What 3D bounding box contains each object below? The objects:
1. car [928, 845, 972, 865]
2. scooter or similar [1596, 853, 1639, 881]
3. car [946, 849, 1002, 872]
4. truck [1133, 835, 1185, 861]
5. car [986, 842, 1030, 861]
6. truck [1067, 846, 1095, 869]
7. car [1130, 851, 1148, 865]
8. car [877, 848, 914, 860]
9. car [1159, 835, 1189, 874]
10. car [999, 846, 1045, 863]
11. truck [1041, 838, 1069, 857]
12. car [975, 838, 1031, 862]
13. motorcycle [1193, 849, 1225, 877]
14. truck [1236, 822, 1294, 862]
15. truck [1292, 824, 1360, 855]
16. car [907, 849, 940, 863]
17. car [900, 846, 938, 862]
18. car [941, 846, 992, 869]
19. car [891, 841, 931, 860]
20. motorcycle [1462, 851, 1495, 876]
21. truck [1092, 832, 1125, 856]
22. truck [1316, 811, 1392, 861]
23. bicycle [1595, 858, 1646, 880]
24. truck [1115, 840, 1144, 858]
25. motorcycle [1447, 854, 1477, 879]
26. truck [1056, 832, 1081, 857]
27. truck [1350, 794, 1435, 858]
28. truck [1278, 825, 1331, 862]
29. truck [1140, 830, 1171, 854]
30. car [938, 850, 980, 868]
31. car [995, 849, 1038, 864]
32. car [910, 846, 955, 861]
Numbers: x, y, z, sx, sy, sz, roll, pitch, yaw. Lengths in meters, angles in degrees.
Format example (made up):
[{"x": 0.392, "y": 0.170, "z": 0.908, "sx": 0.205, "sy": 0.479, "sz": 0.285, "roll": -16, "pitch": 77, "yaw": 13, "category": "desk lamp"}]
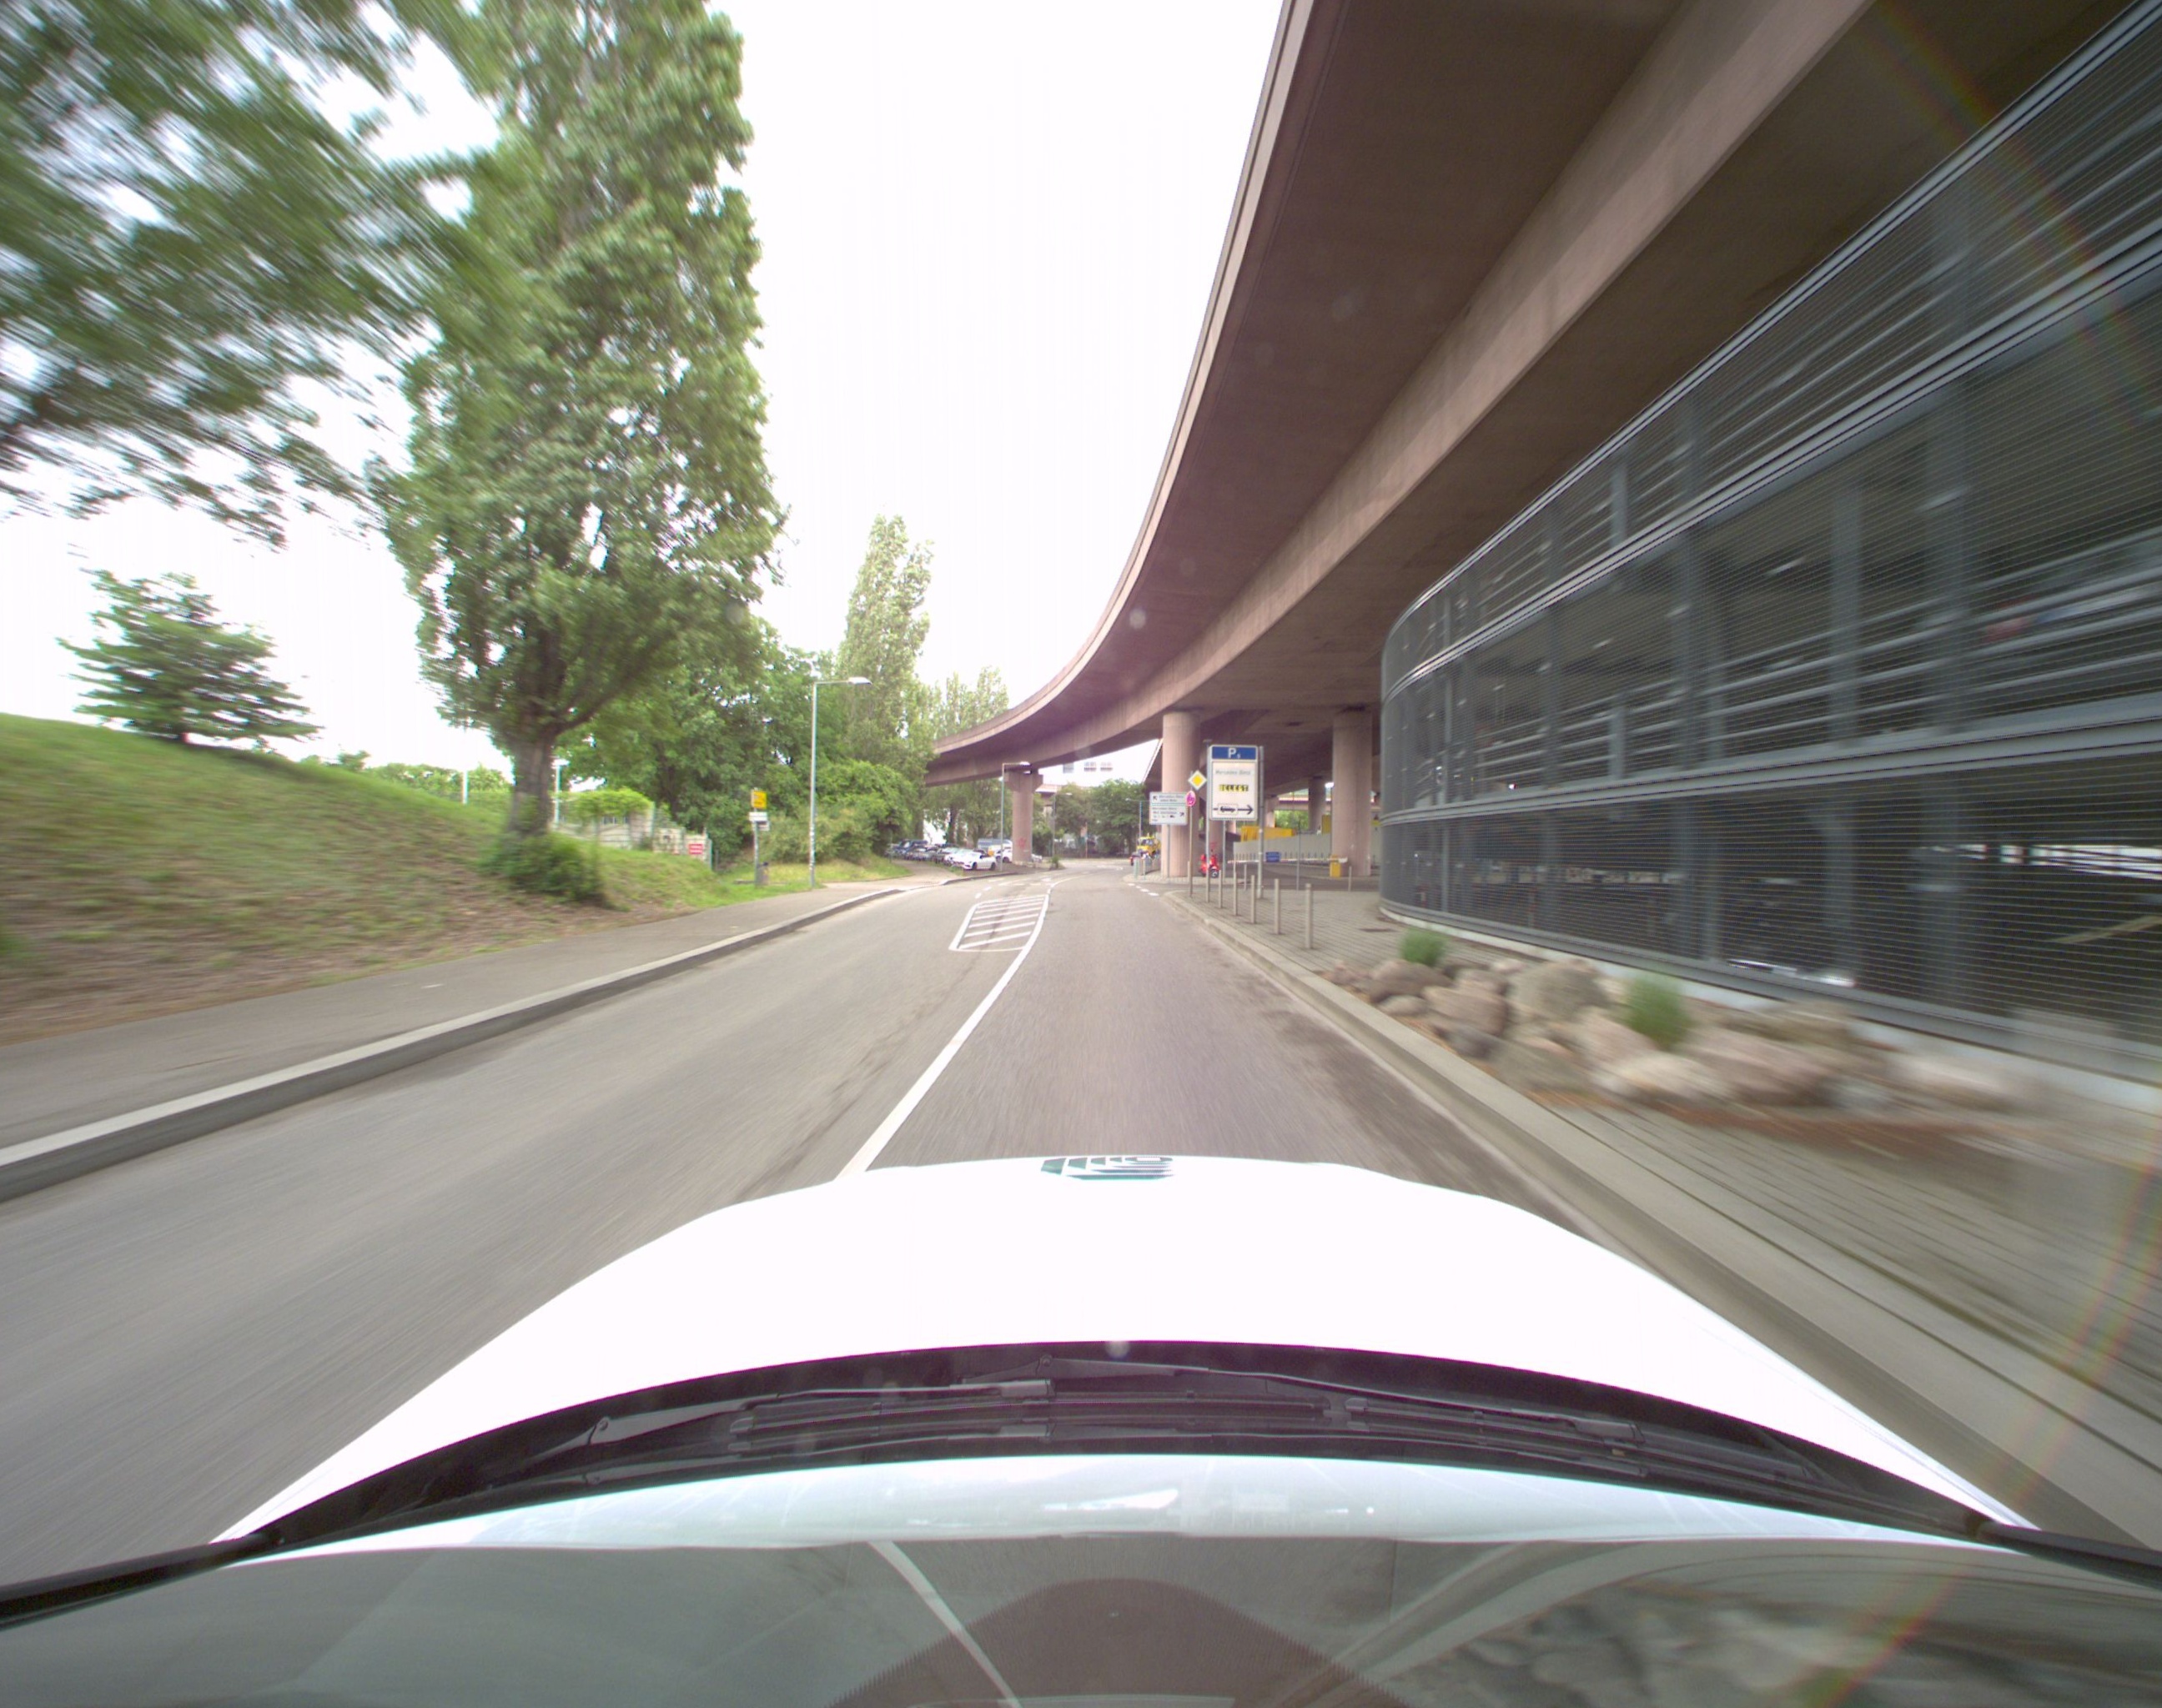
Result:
[{"x": -11.732, "y": 0.076, "z": 73.224, "sx": 1.840, "sy": 1.691, "sz": 4.188, "roll": 1, "pitch": 0, "yaw": 26, "category": "car"}, {"x": 26.388, "y": 0.629, "z": 40.057, "sx": 1.659, "sy": 1.218, "sz": 0.547, "roll": 4, "pitch": 5, "yaw": 44, "category": "scooter or similar"}, {"x": -8.153, "y": 0.523, "z": 62.647, "sx": 1.976, "sy": 1.480, "sz": 4.853, "roll": 4, "pitch": 0, "yaw": 22, "category": "car"}, {"x": 11.941, "y": -0.997, "z": 124.017, "sx": 8.289, "sy": 3.480, "sz": 2.903, "roll": -3, "pitch": 5, "yaw": -41, "category": "truck"}, {"x": -8.317, "y": -0.292, "z": 92.977, "sx": 4.528, "sy": 2.111, "sz": 1.856, "roll": 1, "pitch": 0, "yaw": 10, "category": "car"}, {"x": -0.019, "y": 0.695, "z": 145.475, "sx": 3.074, "sy": 3.963, "sz": 6.881, "roll": -2, "pitch": 0, "yaw": -18, "category": "truck"}, {"x": 7.121, "y": 0.460, "z": 100.525, "sx": 1.986, "sy": 1.679, "sz": 4.561, "roll": 0, "pitch": 0, "yaw": 1, "category": "car"}, {"x": -23.180, "y": -0.053, "z": 101.905, "sx": 1.975, "sy": 1.435, "sz": 4.673, "roll": -1, "pitch": 0, "yaw": 26, "category": "car"}, {"x": 6.562, "y": 0.006, "z": 57.490, "sx": 1.983, "sy": 2.613, "sz": 6.086, "roll": -1, "pitch": 0, "yaw": 7, "category": "car"}, {"x": -6.301, "y": 0.061, "z": 87.129, "sx": 4.349, "sy": 1.606, "sz": 1.962, "roll": 3, "pitch": 1, "yaw": 15, "category": "car"}, {"x": -5.229, "y": -1.282, "z": 162.214, "sx": 3.066, "sy": 3.618, "sz": 7.861, "roll": -1, "pitch": 2, "yaw": -21, "category": "truck"}, {"x": -9.130, "y": -0.461, "z": 95.838, "sx": 6.151, "sy": 2.724, "sz": 2.369, "roll": 1, "pitch": 0, "yaw": 2, "category": "car"}, {"x": 6.497, "y": 0.460, "z": 41.404, "sx": 0.797, "sy": 1.366, "sz": 2.119, "roll": -1, "pitch": 1, "yaw": -15, "category": "motorcycle"}, {"x": 23.740, "y": -1.497, "z": 104.712, "sx": 3.109, "sy": 4.917, "sz": 8.769, "roll": 0, "pitch": 0, "yaw": 44, "category": "truck"}, {"x": 26.649, "y": -1.631, "z": 88.443, "sx": 8.769, "sy": 2.944, "sz": 3.108, "roll": -3, "pitch": -1, "yaw": -45, "category": "truck"}, {"x": -16.593, "y": 0.162, "z": 85.925, "sx": 1.630, "sy": 1.441, "sz": 3.754, "roll": -1, "pitch": 0, "yaw": 20, "category": "car"}, {"x": -17.744, "y": 0.008, "z": 89.441, "sx": 1.877, "sy": 1.675, "sz": 4.179, "roll": -1, "pitch": 0, "yaw": 28, "category": "car"}, {"x": -9.307, "y": 0.320, "z": 66.554, "sx": 1.976, "sy": 1.582, "sz": 4.424, "roll": 5, "pitch": 0, "yaw": 23, "category": "car"}, {"x": -20.169, "y": -0.430, "z": 97.046, "sx": 2.099, "sy": 2.254, "sz": 5.045, "roll": -1, "pitch": 0, "yaw": 23, "category": "car"}, {"x": 20.887, "y": 0.480, "z": 42.842, "sx": 0.570, "sy": 1.105, "sz": 2.330, "roll": 0, "pitch": 4, "yaw": 0, "category": "motorcycle"}, {"x": 4.745, "y": -1.799, "z": 141.416, "sx": 3.075, "sy": 3.867, "sz": 7.998, "roll": -1, "pitch": 2, "yaw": -19, "category": "truck"}, {"x": 26.352, "y": -1.660, "z": 78.177, "sx": 3.108, "sy": 4.443, "sz": 9.785, "roll": -1, "pitch": 0, "yaw": 43, "category": "truck"}, {"x": 25.627, "y": 0.720, "z": 38.720, "sx": 2.045, "sy": 1.023, "sz": 0.397, "roll": 0, "pitch": 1, "yaw": 7, "category": "bicycle"}, {"x": 8.469, "y": -0.888, "z": 142.727, "sx": 2.924, "sy": 2.898, "sz": 6.517, "roll": -1, "pitch": 2, "yaw": -19, "category": "truck"}, {"x": 19.750, "y": 0.611, "z": 42.277, "sx": 0.540, "sy": 1.105, "sz": 2.332, "roll": 0, "pitch": 4, "yaw": 3, "category": "motorcycle"}, {"x": -2.588, "y": -2.042, "z": 165.852, "sx": 3.207, "sy": 4.779, "sz": 8.011, "roll": -1, "pitch": 2, "yaw": -14, "category": "truck"}, {"x": 26.009, "y": -2.193, "z": 67.665, "sx": 3.108, "sy": 4.924, "sz": 9.785, "roll": -1, "pitch": 0, "yaw": 43, "category": "truck"}, {"x": 30.813, "y": -1.407, "z": 111.999, "sx": 3.109, "sy": 4.903, "sz": 8.769, "roll": 0, "pitch": 0, "yaw": 44, "category": "truck"}, {"x": 13.754, "y": -2.268, "z": 151.091, "sx": 3.070, "sy": 4.299, "sz": 8.010, "roll": -1, "pitch": 2, "yaw": -14, "category": "truck"}, {"x": -10.481, "y": 0.435, "z": 70.192, "sx": 1.770, "sy": 1.454, "sz": 3.768, "roll": 0, "pitch": 0, "yaw": 25, "category": "car"}, {"x": -7.157, "y": 0.262, "z": 90.230, "sx": 4.215, "sy": 1.371, "sz": 2.007, "roll": 3, "pitch": 1, "yaw": 12, "category": "car"}, {"x": -15.090, "y": -0.082, "z": 83.049, "sx": 1.840, "sy": 1.487, "sz": 4.917, "roll": 3, "pitch": 2, "yaw": 26, "category": "car"}]
